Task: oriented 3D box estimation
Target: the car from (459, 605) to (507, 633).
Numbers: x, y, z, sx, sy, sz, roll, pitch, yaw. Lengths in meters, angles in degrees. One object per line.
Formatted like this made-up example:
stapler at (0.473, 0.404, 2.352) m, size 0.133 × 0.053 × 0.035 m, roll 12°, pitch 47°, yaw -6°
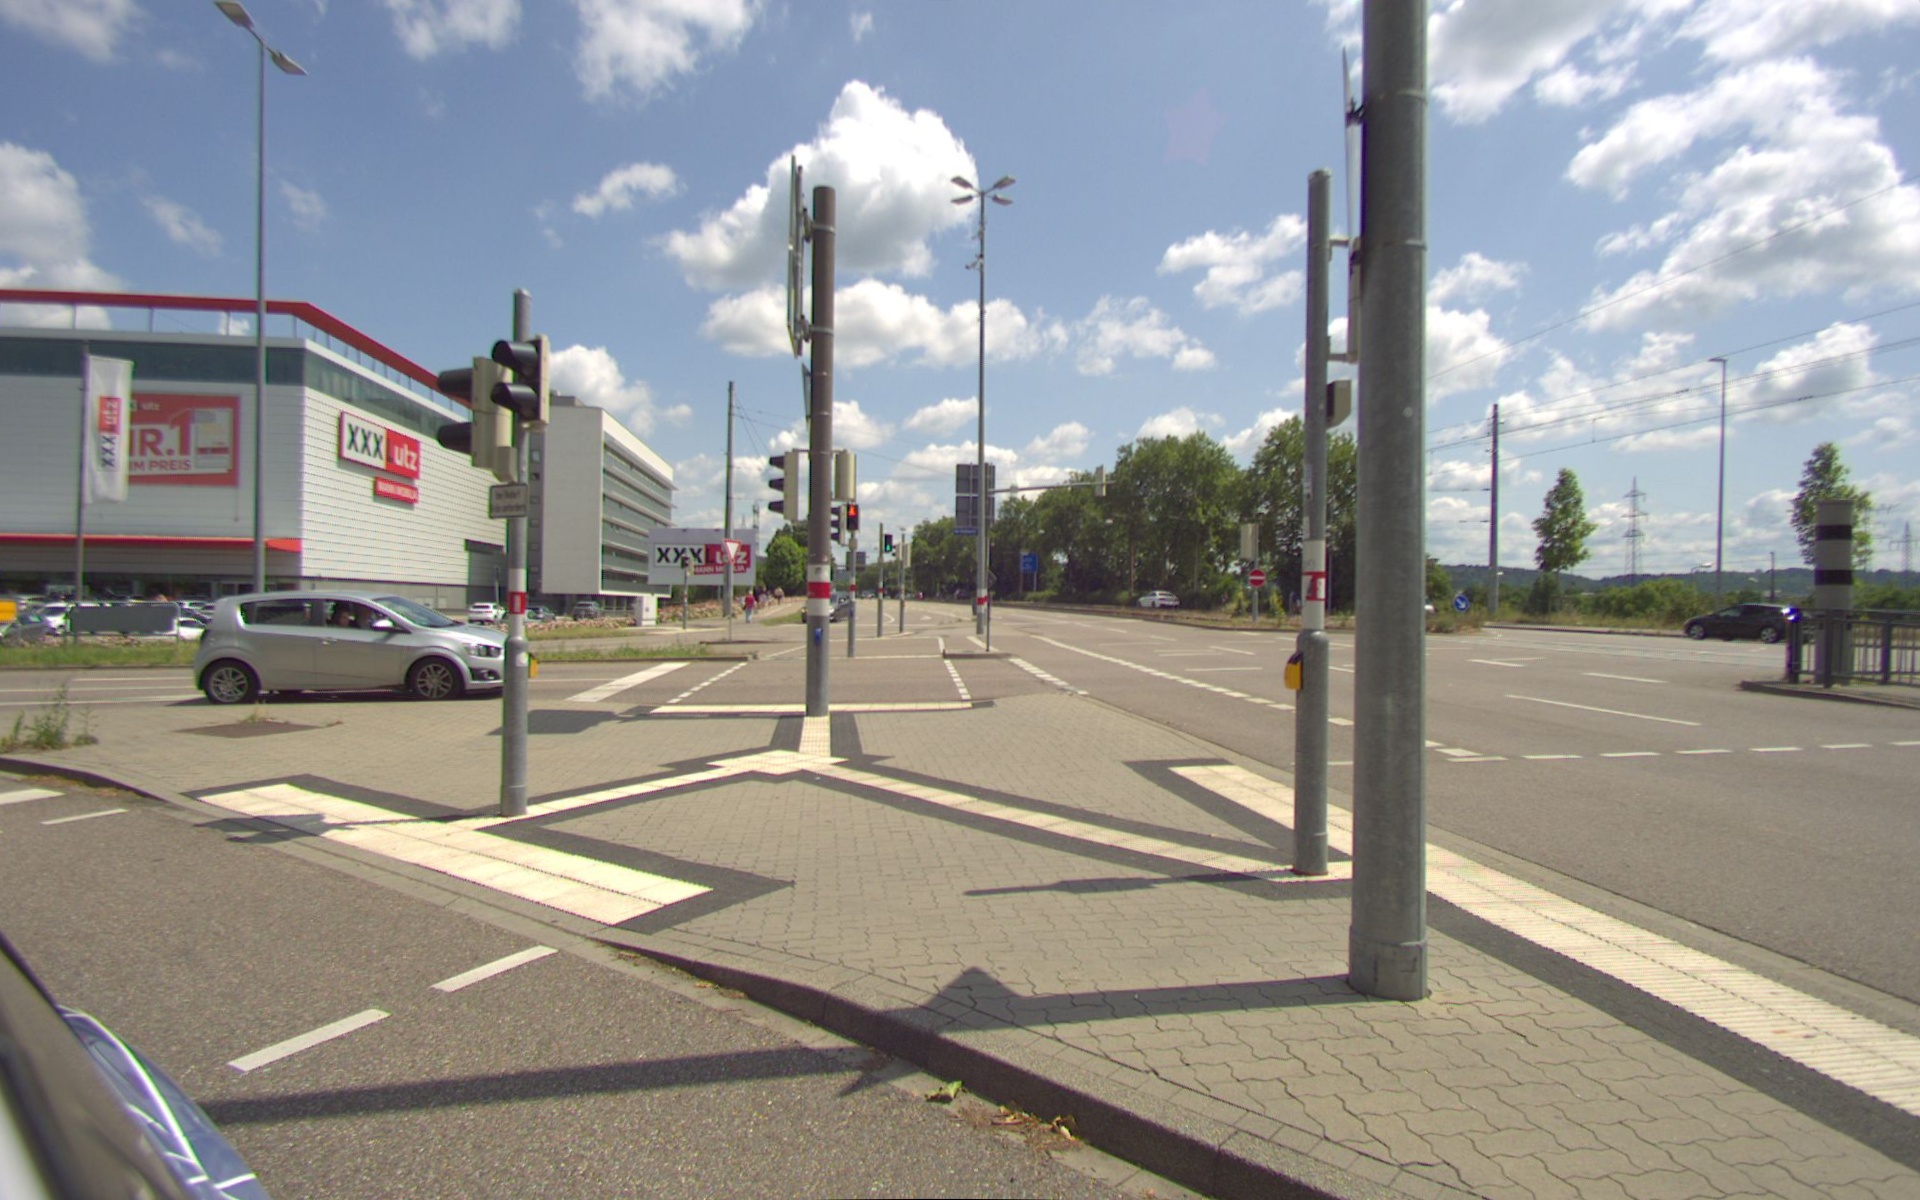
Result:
car at (-35.394, 1.428, 75.160) m, size 1.968 × 2.004 × 4.370 m, roll 0°, pitch -1°, yaw -8°

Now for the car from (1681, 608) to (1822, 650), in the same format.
car at (29.114, 1.037, 37.374) m, size 1.642 × 1.419 × 3.903 m, roll 0°, pitch 0°, yaw -15°

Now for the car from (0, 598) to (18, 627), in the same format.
car at (-69.032, 0.882, 71.256) m, size 1.968 × 2.029 × 4.007 m, roll 0°, pitch -1°, yaw -8°

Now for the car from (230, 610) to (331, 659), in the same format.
car at (-29.473, 1.465, 44.060) m, size 1.969 × 2.029 × 4.005 m, roll 0°, pitch -1°, yaw -5°

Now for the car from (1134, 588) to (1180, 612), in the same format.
car at (15.358, 0.051, 79.180) m, size 1.969 × 1.822 × 5.142 m, roll 0°, pitch -1°, yaw -7°

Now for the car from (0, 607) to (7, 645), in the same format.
car at (-51.990, 1.354, 52.177) m, size 1.968 × 2.004 × 4.370 m, roll 0°, pitch -1°, yaw -8°

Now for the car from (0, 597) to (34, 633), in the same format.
car at (-55.279, 0.846, 57.334) m, size 1.968 × 2.004 × 4.370 m, roll 2°, pitch -1°, yaw -8°

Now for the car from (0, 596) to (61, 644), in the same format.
car at (-41.438, 0.845, 43.591) m, size 1.968 × 2.004 × 4.370 m, roll 0°, pitch -1°, yaw -8°

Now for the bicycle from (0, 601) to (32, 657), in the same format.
bicycle at (-30.334, 0.900, 31.406) m, size 2.016 × 1.688 × 1.022 m, roll 0°, pitch -1°, yaw -6°

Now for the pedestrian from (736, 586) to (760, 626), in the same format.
pedestrian at (-10.088, 0.277, 48.138) m, size 0.853 × 1.851 × 0.800 m, roll 0°, pitch 2°, yaw -35°

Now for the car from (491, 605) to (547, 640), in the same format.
car at (-26.198, 1.318, 60.276) m, size 1.968 × 2.004 × 4.370 m, roll 0°, pitch -1°, yaw -8°

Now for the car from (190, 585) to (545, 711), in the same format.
car at (-8.001, 0.591, 14.026) m, size 3.772 × 1.480 × 1.904 m, roll -2°, pitch 1°, yaw -8°

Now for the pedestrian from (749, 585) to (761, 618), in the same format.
pedestrian at (-11.696, 0.093, 57.762) m, size 0.589 × 1.824 × 0.534 m, roll 0°, pitch -1°, yaw 4°

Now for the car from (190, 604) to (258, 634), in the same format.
car at (-49.234, 1.267, 67.772) m, size 1.968 × 2.004 × 4.093 m, roll 0°, pitch -1°, yaw -8°

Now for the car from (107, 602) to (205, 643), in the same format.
car at (-42.349, 1.143, 53.440) m, size 1.968 × 2.004 × 4.605 m, roll 1°, pitch 0°, yaw -8°

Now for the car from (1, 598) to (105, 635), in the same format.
car at (-47.596, 0.884, 53.239) m, size 1.968 × 1.853 × 4.370 m, roll 0°, pitch -1°, yaw -8°

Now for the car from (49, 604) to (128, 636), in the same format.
car at (-56.515, 1.266, 65.730) m, size 1.968 × 2.004 × 4.093 m, roll 0°, pitch -1°, yaw -8°

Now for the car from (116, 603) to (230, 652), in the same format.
car at (-33.979, 1.153, 43.863) m, size 1.968 × 2.004 × 4.370 m, roll 0°, pitch -1°, yaw -8°

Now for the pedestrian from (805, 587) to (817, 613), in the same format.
pedestrian at (-11.760, 0.017, 79.925) m, size 0.767 × 2.029 × 0.565 m, roll -1°, pitch -1°, yaw 14°

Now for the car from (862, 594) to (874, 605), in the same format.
car at (-17.744, -0.117, 194.554) m, size 1.972 × 2.029 × 4.000 m, roll 0°, pitch -1°, yaw -1°

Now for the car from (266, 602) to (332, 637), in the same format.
car at (-38.741, 1.131, 59.472) m, size 1.965 × 2.004 × 5.326 m, roll 0°, pitch -1°, yaw -19°

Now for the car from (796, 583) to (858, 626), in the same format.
car at (-6.516, 0.245, 49.993) m, size 1.977 × 2.029 × 3.988 m, roll 0°, pitch -1°, yaw 9°

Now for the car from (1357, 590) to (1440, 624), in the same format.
car at (23.875, 0.386, 55.263) m, size 1.783 × 1.671 × 4.334 m, roll 5°, pitch -2°, yaw -14°

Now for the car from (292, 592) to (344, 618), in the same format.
car at (-52.732, 0.434, 83.178) m, size 1.969 × 2.004 × 4.091 m, roll 0°, pitch -1°, yaw -6°
